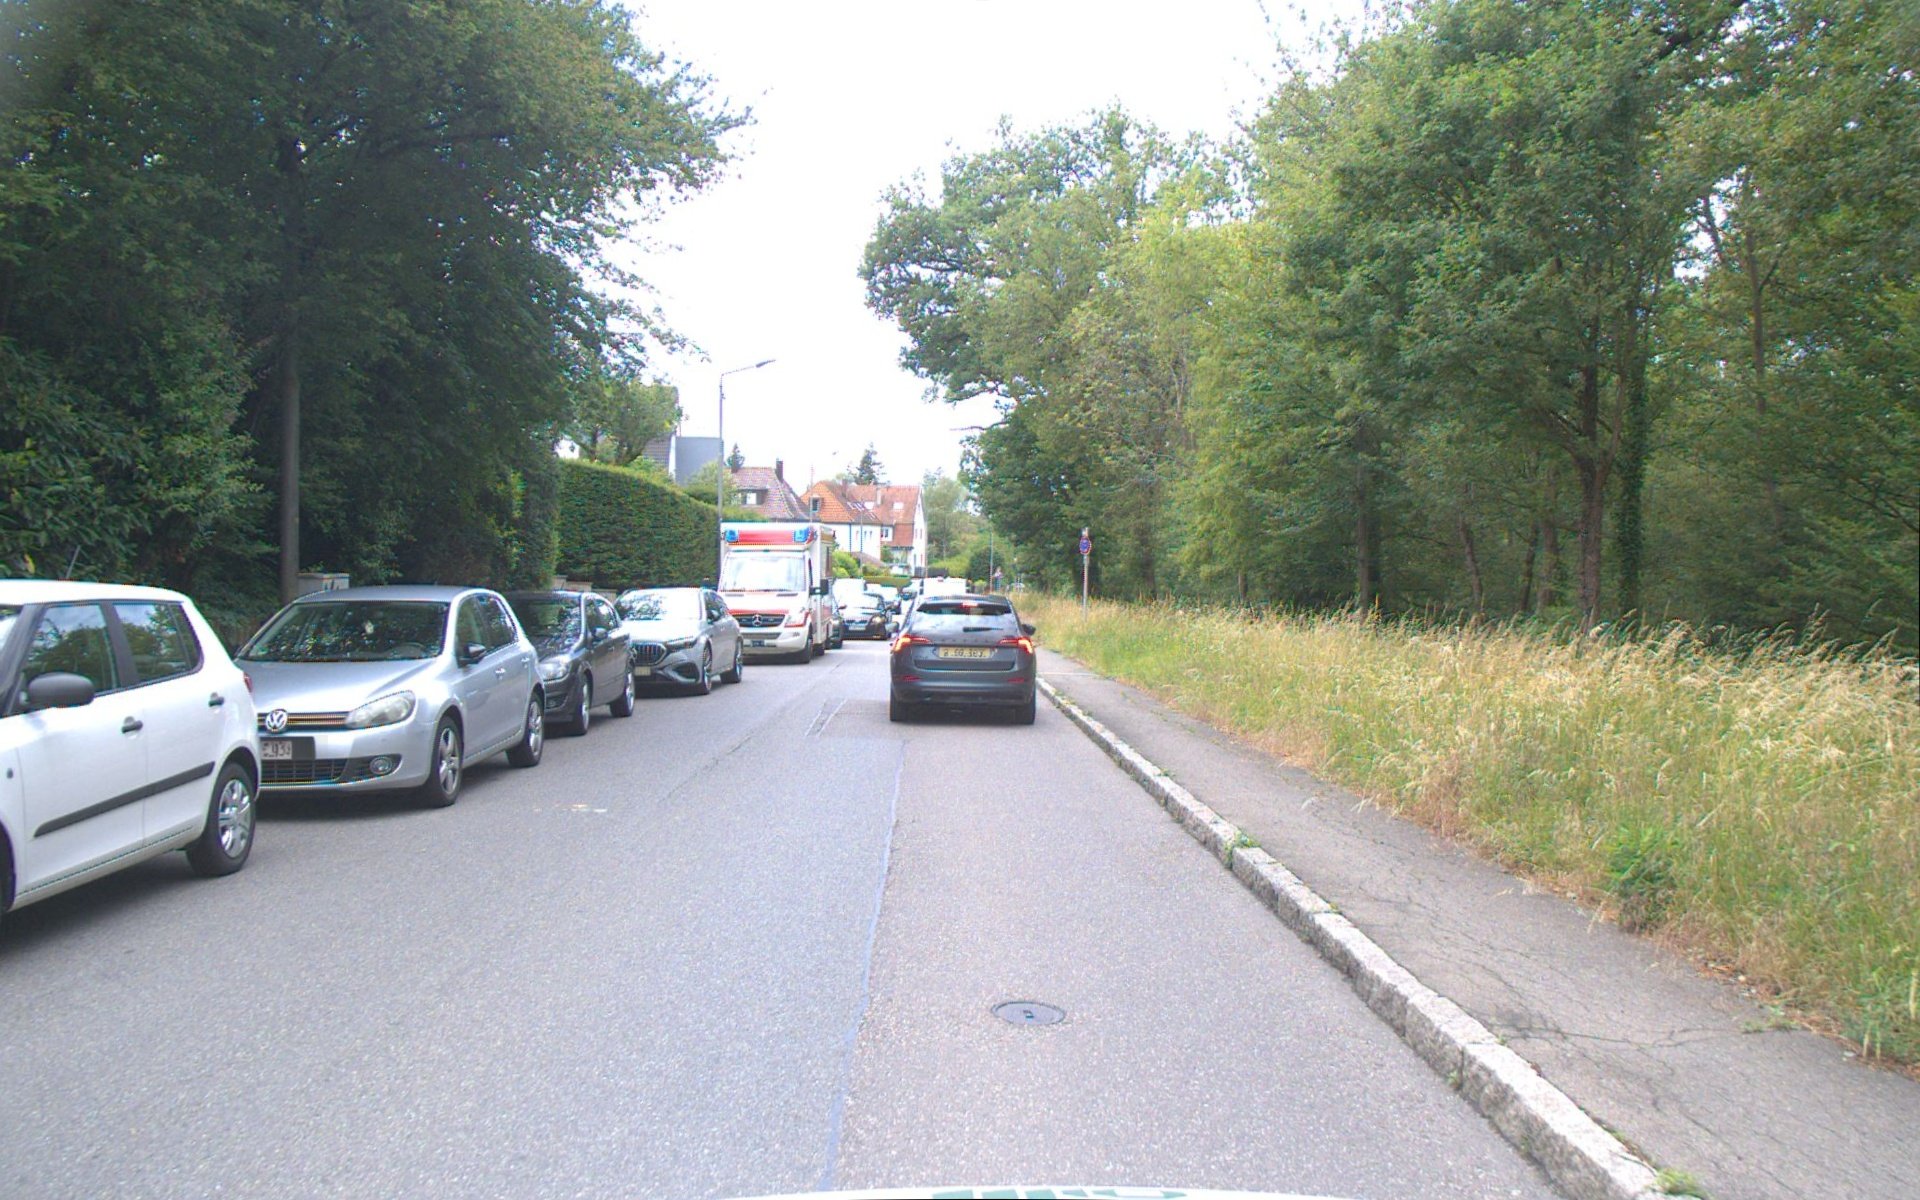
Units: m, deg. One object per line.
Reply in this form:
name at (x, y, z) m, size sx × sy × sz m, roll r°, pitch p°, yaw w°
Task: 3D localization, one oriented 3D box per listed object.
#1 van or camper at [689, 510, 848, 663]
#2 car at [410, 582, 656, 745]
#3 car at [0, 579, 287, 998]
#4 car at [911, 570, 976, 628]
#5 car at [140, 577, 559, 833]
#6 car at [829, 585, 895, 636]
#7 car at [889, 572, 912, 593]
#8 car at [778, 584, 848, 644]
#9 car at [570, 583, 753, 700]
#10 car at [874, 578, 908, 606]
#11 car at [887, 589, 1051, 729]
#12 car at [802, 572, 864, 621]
van or camper at (-3.934, -0.302, 35.461) m, size 2.405 × 2.945 × 7.169 m, roll 0°, pitch 1°, yaw 1°
car at (-4.501, 0.597, 18.011) m, size 1.685 × 1.531 × 4.059 m, roll -1°, pitch 0°, yaw -2°
car at (-4.429, 0.698, 7.060) m, size 1.686 × 1.531 × 3.815 m, roll -1°, pitch 1°, yaw -3°
car at (-0.657, -0.077, 60.059) m, size 2.031 × 1.955 × 4.919 m, roll 1°, pitch 1°, yaw -4°
car at (-4.242, 0.628, 12.198) m, size 1.686 × 1.531 × 4.006 m, roll -1°, pitch 0°, yaw -2°
car at (-2.932, 0.279, 50.352) m, size 1.727 × 1.471 × 4.474 m, roll 0°, pitch 1°, yaw 0°
car at (-4.948, -1.438, 138.003) m, size 1.796 × 1.624 × 4.323 m, roll 2°, pitch 2°, yaw -2°
car at (-3.812, 0.320, 43.403) m, size 1.729 × 1.471 × 4.470 m, roll 0°, pitch 1°, yaw -4°
car at (-4.329, 0.539, 24.728) m, size 1.761 × 1.531 × 4.864 m, roll -1°, pitch 0°, yaw 1°
car at (-3.813, -0.448, 92.175) m, size 1.825 × 1.439 × 4.591 m, roll 2°, pitch 1°, yaw -2°
car at (0.010, 0.642, 20.405) m, size 1.694 × 1.464 × 4.321 m, roll 2°, pitch 1°, yaw -4°
car at (-4.526, -0.149, 59.550) m, size 1.800 × 1.677 × 4.186 m, roll -1°, pitch 1°, yaw 1°
